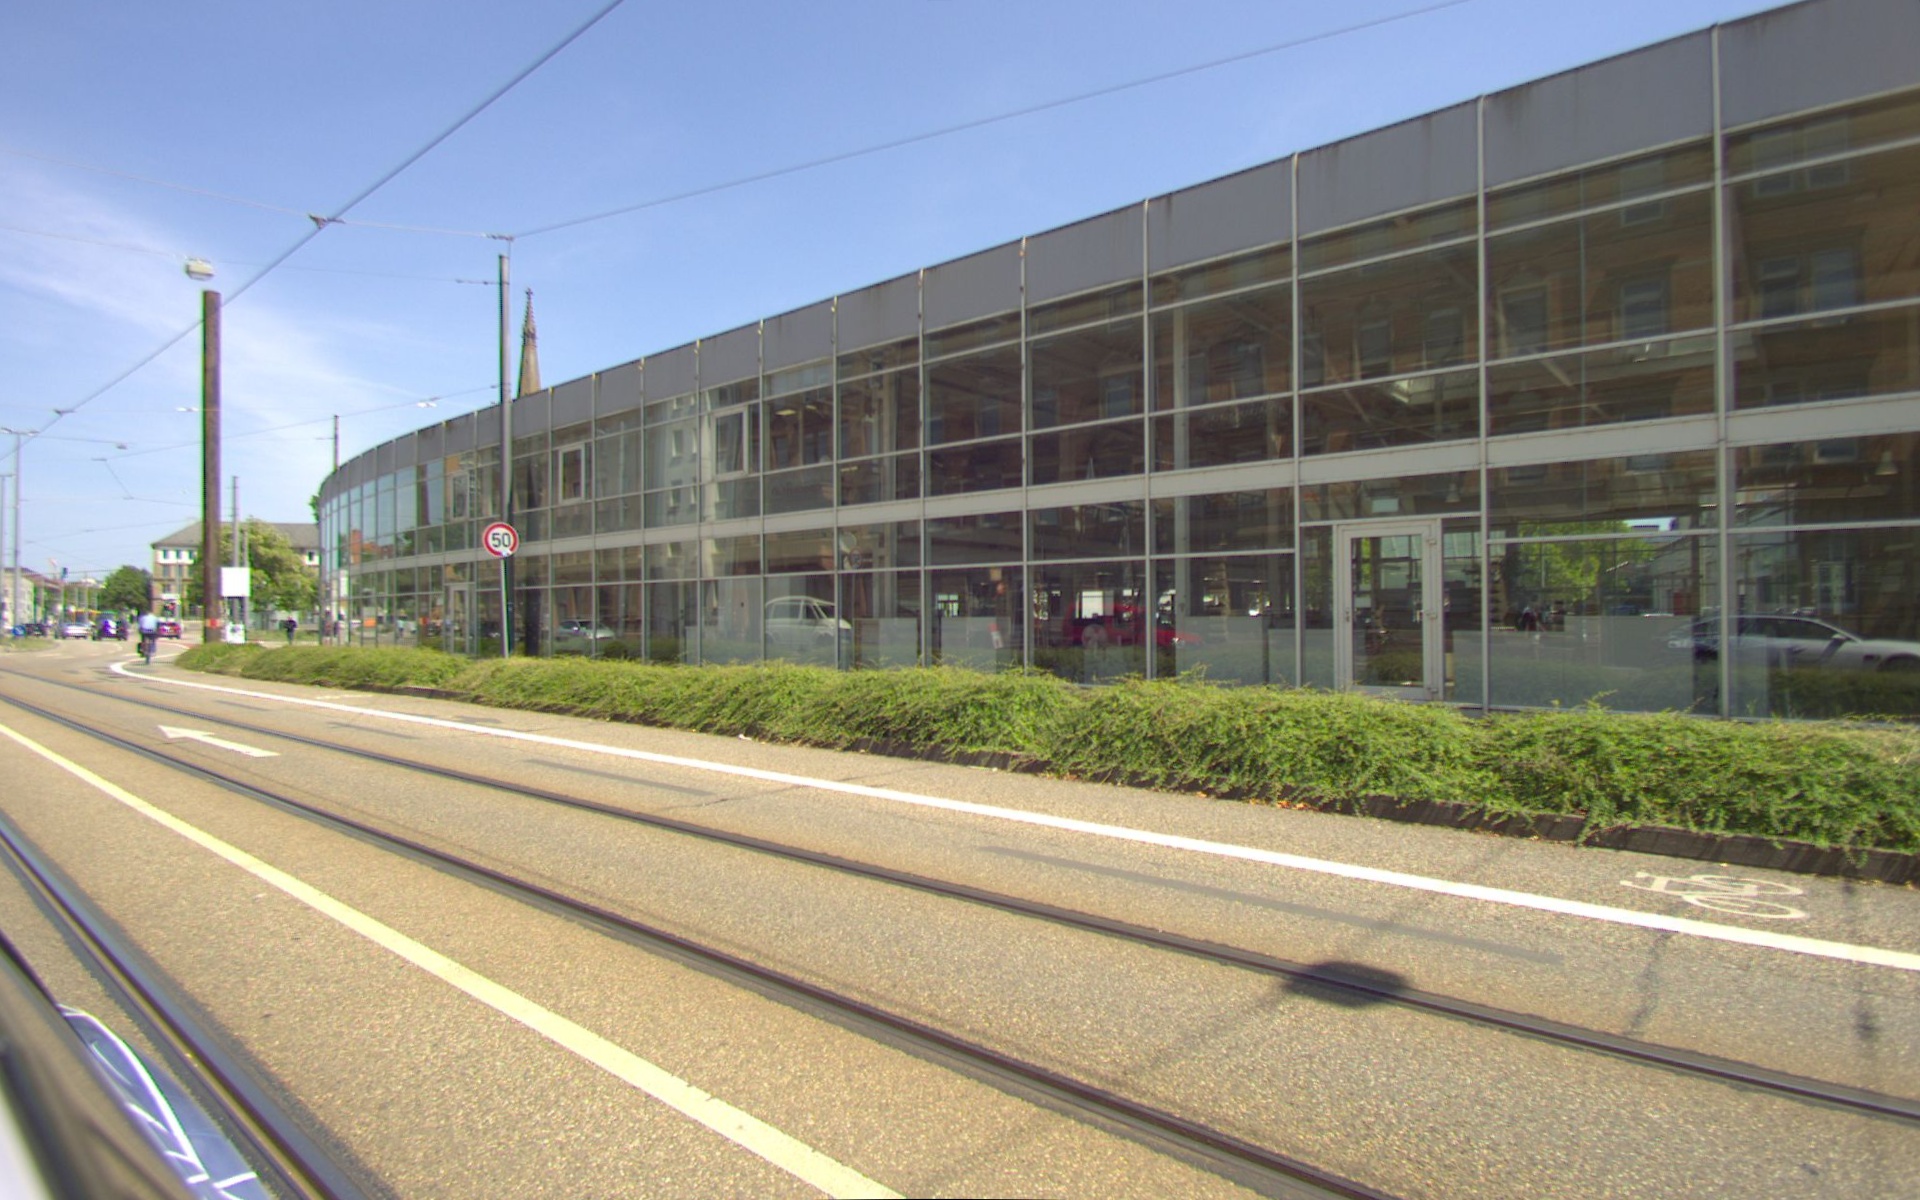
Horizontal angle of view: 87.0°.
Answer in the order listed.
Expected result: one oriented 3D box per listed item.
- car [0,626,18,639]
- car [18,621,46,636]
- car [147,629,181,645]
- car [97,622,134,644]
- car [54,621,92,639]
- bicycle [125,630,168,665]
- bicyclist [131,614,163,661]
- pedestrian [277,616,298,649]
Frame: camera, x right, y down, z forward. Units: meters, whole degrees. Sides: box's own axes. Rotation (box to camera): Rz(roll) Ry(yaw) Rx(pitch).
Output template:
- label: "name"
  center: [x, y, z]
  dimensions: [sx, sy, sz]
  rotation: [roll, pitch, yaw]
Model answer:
- label: "car"
  center: [-115.878, 3.912, 123.115]
  dimensions: [3.677, 1.548, 1.532]
  rotation: [-1, -1, 41]
- label: "car"
  center: [-91.498, 2.805, 99.778]
  dimensions: [3.902, 1.473, 1.653]
  rotation: [-1, -2, 41]
- label: "car"
  center: [-70.964, 3.280, 90.155]
  dimensions: [4.288, 1.377, 1.739]
  rotation: [-1, -1, 43]
- label: "car"
  center: [-67.296, 2.614, 80.594]
  dimensions: [4.527, 1.639, 1.801]
  rotation: [-1, -2, 44]
- label: "car"
  center: [-81.808, 2.759, 93.278]
  dimensions: [5.129, 1.542, 1.972]
  rotation: [-1, -3, 42]
- label: "bicycle"
  center: [-27.657, 1.592, 34.398]
  dimensions: [2.494, 1.153, 0.690]
  rotation: [-1, -1, 41]
- label: "bicyclist"
  center: [-27.605, 1.255, 34.365]
  dimensions: [0.979, 1.560, 0.690]
  rotation: [-1, -2, 41]
- label: "pedestrian"
  center: [-33.832, 1.628, 50.896]
  dimensions: [0.820, 1.654, 0.719]
  rotation: [-2, -1, 45]
